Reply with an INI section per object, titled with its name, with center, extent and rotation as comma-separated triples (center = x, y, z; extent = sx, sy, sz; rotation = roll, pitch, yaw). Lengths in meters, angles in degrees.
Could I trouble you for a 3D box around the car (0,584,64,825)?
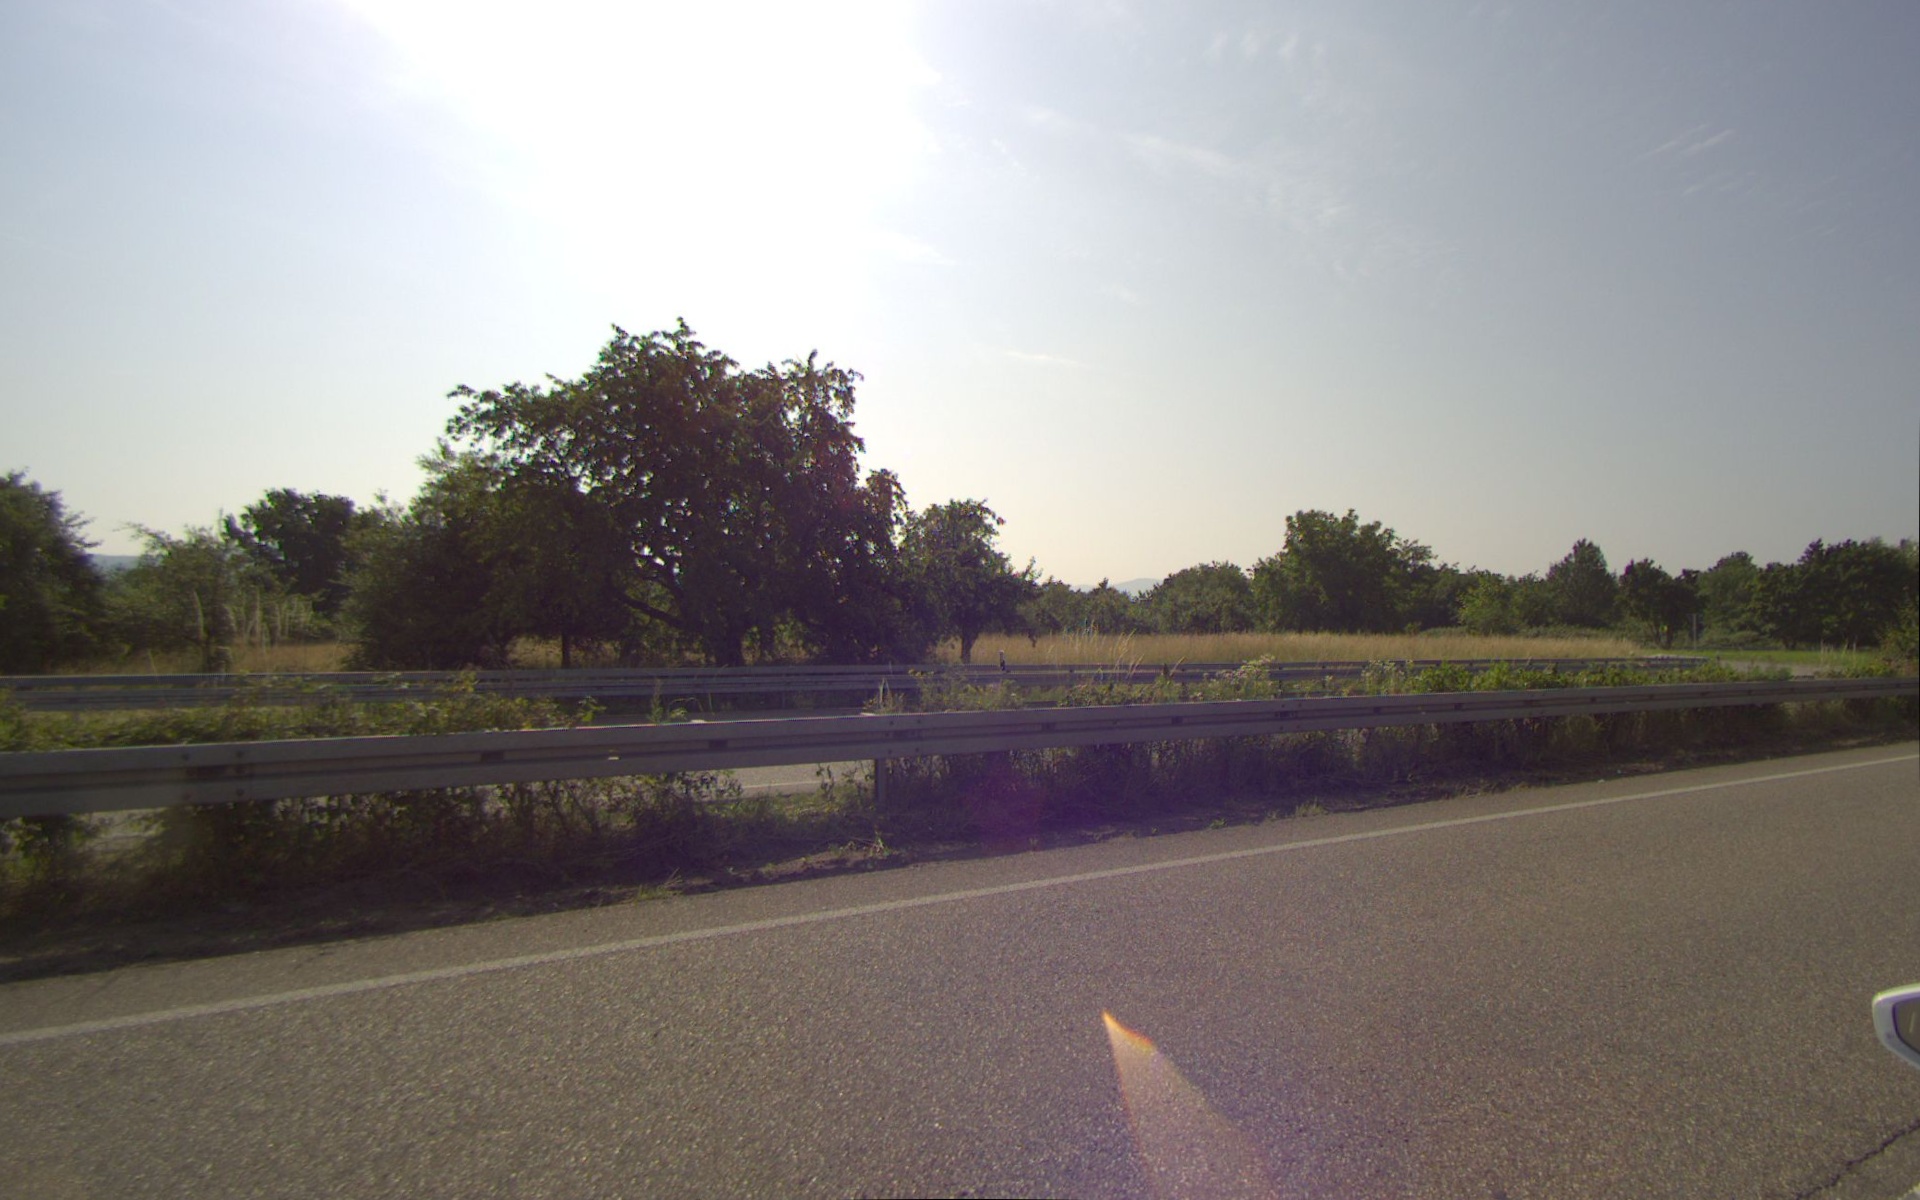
[car]
center = -8.607, 0.685, 6.451
extent = 3.953, 1.663, 1.652
rotation = 1, -1, -30
